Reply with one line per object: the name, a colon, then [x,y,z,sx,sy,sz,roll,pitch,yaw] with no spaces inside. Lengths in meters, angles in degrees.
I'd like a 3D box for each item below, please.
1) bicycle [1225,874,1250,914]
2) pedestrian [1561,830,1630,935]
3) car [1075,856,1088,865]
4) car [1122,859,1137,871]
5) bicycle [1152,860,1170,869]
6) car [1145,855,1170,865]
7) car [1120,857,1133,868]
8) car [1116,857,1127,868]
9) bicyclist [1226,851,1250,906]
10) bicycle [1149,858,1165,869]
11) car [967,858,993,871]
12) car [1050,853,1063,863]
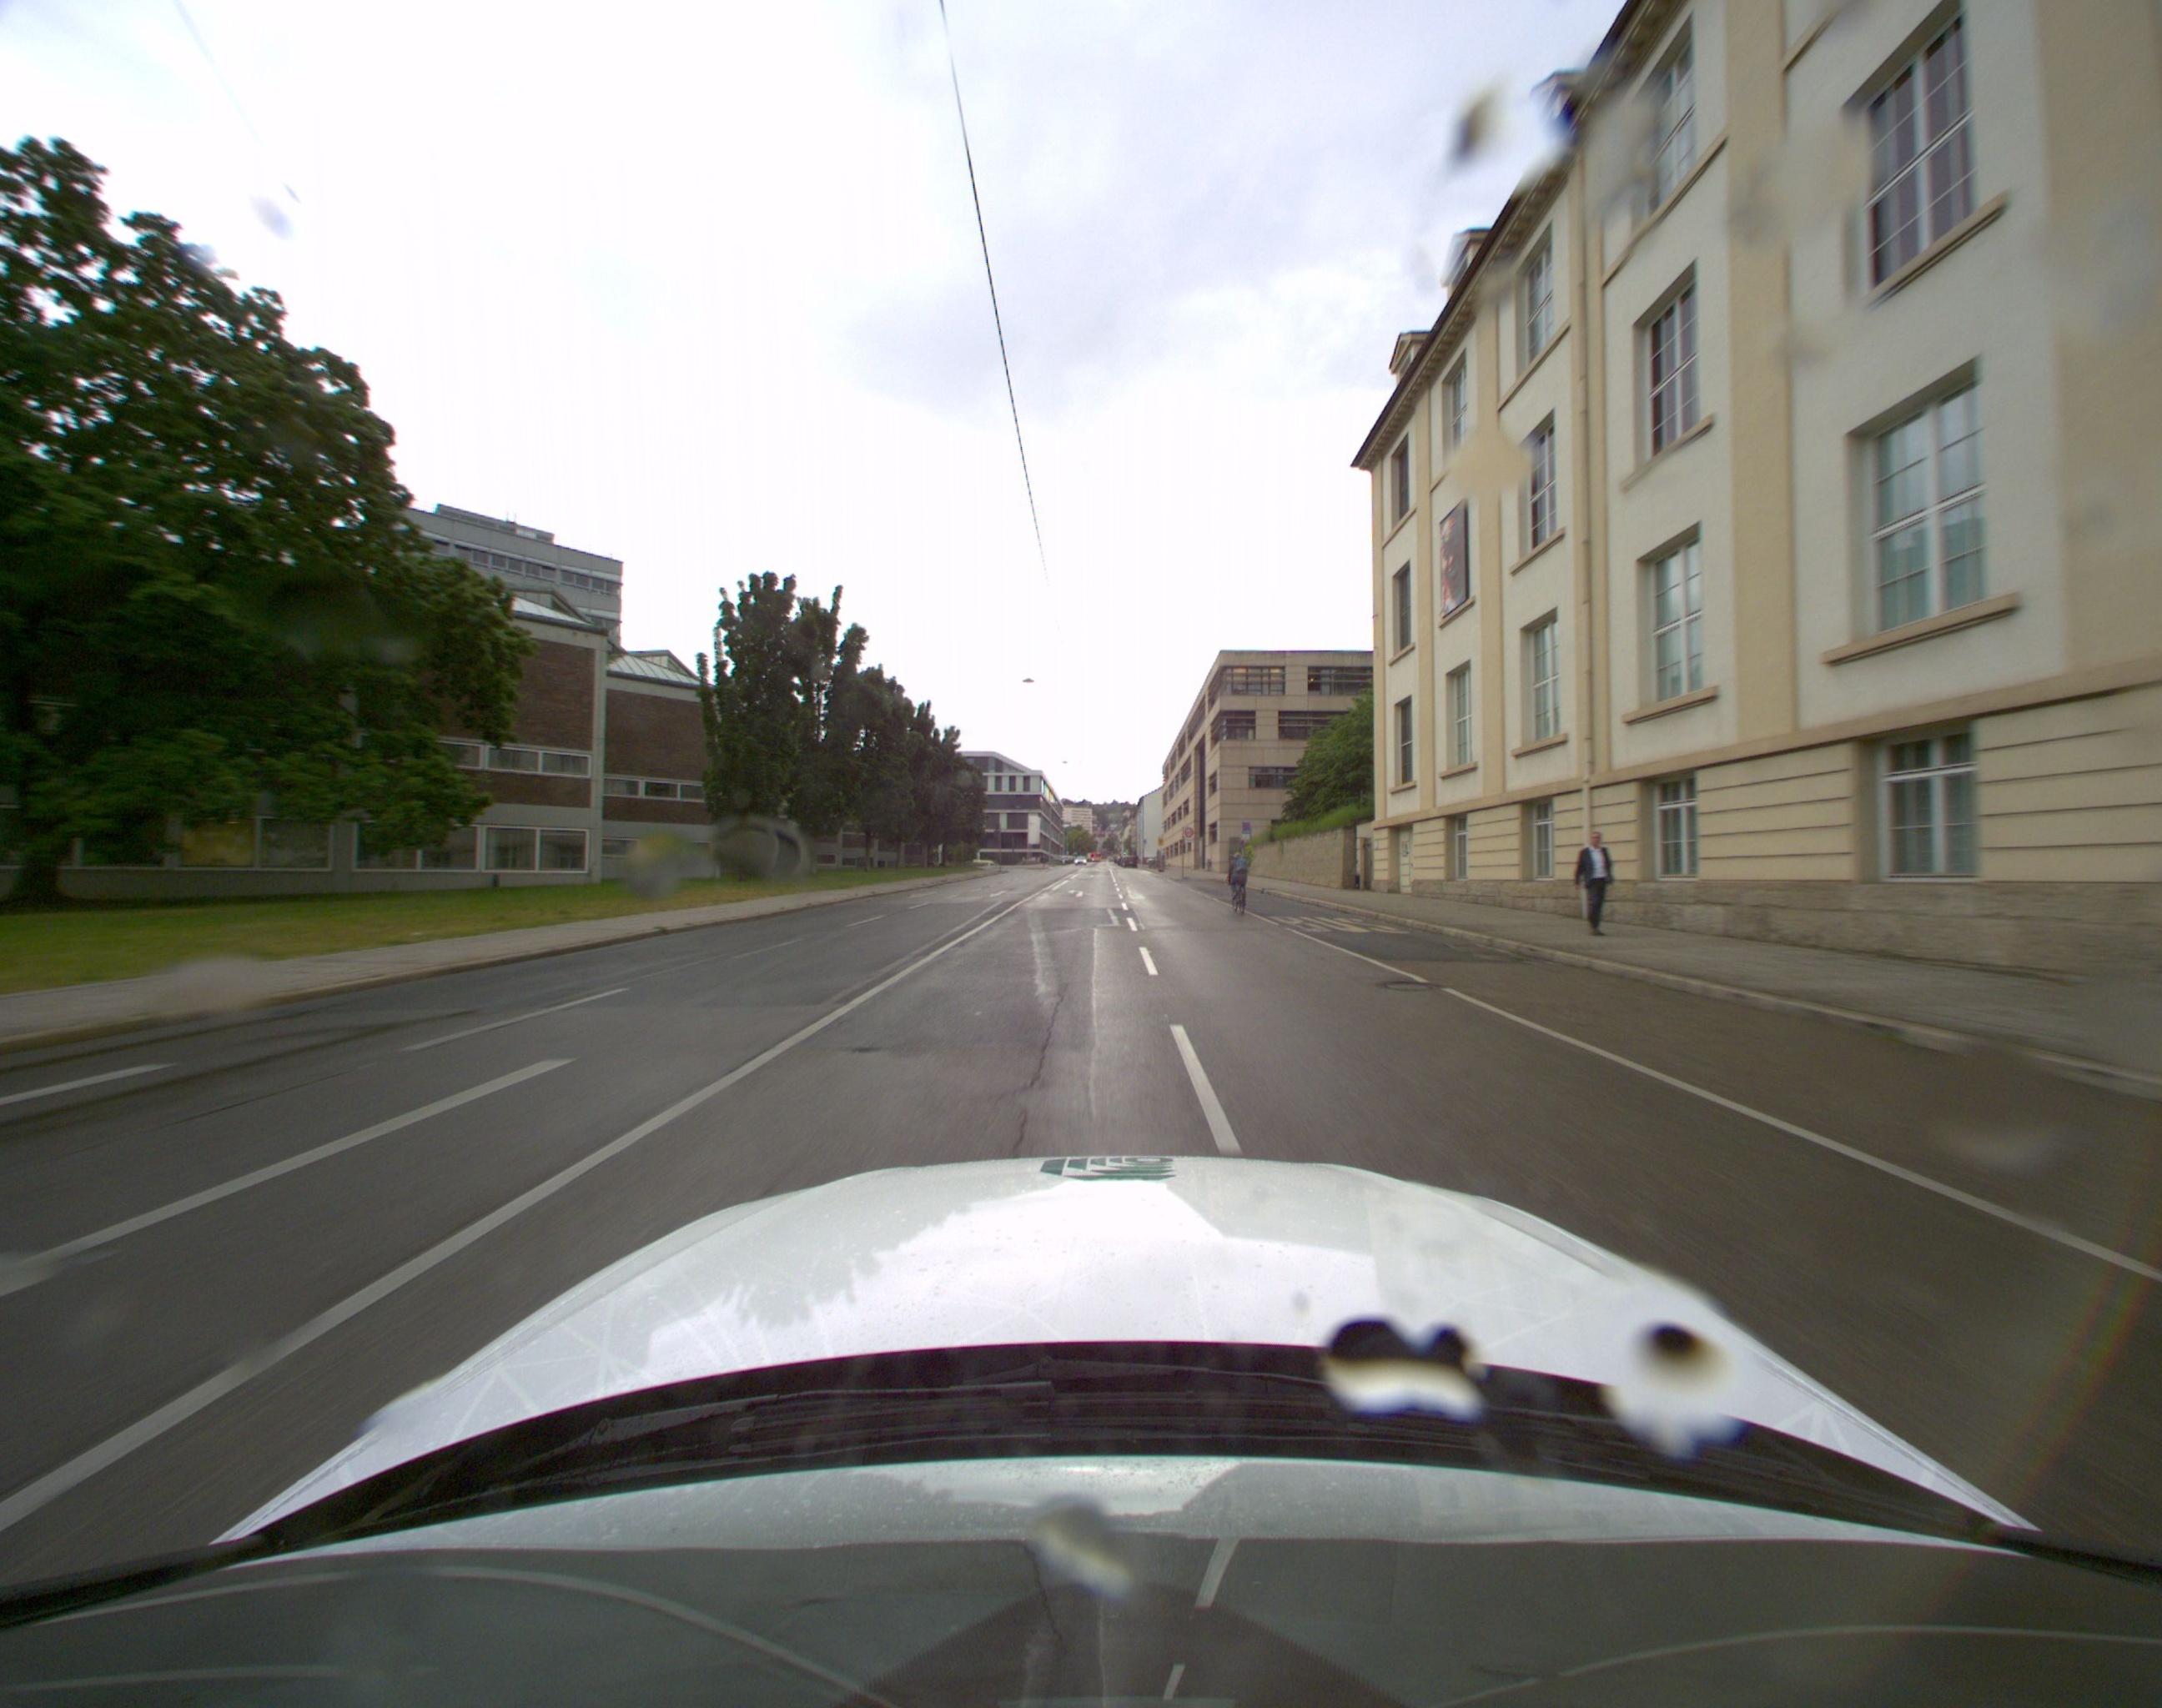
bicycle: [4.154,1.050,21.712,0.445,0.963,1.691,1,0,4]
pedestrian: [9.055,0.492,14.350,0.667,1.798,0.852,-1,-1,3]
car: [0.127,1.105,141.999,1.873,1.491,5.225,-2,0,4]
car: [6.610,1.493,111.249,1.765,1.604,4.394,1,-1,0]
bicycle: [8.574,1.107,87.314,1.754,0.953,0.659,0,-1,-2]
car: [14.258,1.148,152.461,4.423,1.713,1.905,-2,-1,0]
car: [7.054,1.316,127.311,1.737,1.533,4.319,1,-1,0]
car: [7.158,1.488,143.973,1.928,1.750,4.797,1,-1,1]
bicyclist: [4.161,0.641,21.642,0.482,1.433,0.931,1,-1,4]
bicycle: [8.251,1.018,88.301,1.726,1.119,0.659,0,-1,-4]
car: [-18.770,1.938,151.930,4.582,2.174,1.928,1,-1,-5]
car: [-4.134,0.749,139.380,1.842,1.617,4.492,1,-1,2]
